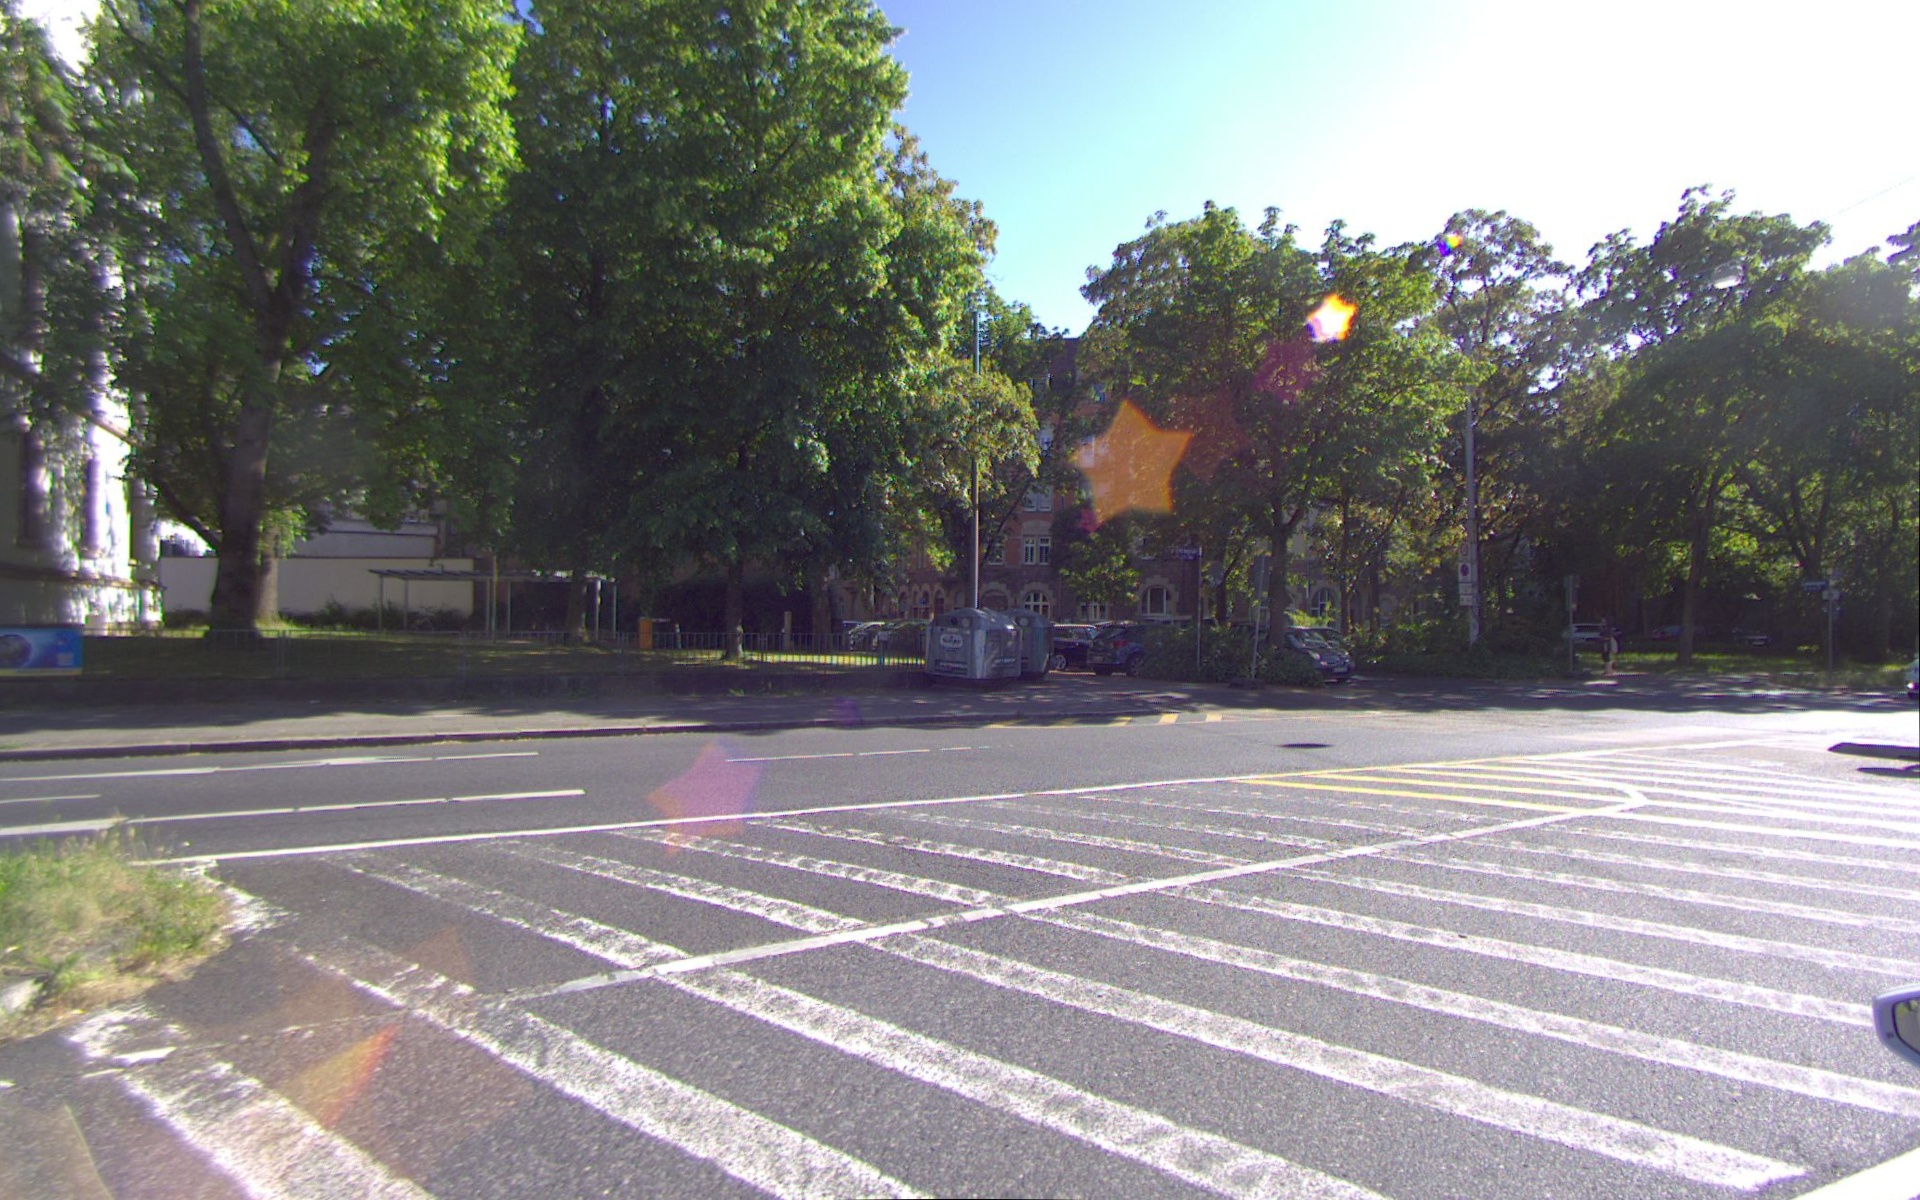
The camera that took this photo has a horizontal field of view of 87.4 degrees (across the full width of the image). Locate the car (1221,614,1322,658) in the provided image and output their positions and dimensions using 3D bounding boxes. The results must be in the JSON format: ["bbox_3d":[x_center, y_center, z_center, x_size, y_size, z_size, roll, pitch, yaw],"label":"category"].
[{"bbox_3d":[12.869,1.436,41.458,3.954,1.676,1.836,0,1,-31],"label":"car"}]

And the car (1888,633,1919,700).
[{"bbox_3d":[24.013,1.552,23.691,3.805,1.539,1.754,0,-2,-24],"label":"car"}]

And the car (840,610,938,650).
[{"bbox_3d":[-3.168,1.358,45.140,3.955,1.510,1.836,5,-2,-31],"label":"car"}]

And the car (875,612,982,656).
[{"bbox_3d":[-1.284,1.385,41.163,3.955,1.510,1.836,5,-2,-31],"label":"car"}]

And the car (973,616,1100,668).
[{"bbox_3d":[2.647,1.442,34.395,3.955,1.510,1.836,5,-2,-31],"label":"car"}]

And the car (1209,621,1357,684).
[{"bbox_3d":[9.121,1.426,28.661,1.786,1.489,3.975,-2,1,-25],"label":"car"}]

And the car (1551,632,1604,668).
[{"bbox_3d":[32.103,2.559,52.294,1.944,1.684,3.996,0,-1,26],"label":"car"}]

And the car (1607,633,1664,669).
[{"bbox_3d":[34.145,2.532,50.860,1.945,1.684,3.995,0,-1,28],"label":"car"}]

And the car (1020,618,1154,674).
[{"bbox_3d":[4.105,1.490,32.356,3.955,1.510,1.836,5,-2,-31],"label":"car"}]

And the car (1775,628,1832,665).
[{"bbox_3d":[40.455,2.194,48.251,1.951,1.684,3.983,1,-1,38],"label":"car"}]

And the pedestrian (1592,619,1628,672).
[{"bbox_3d":[20.528,1.425,31.738,0.701,1.648,0.671,1,0,2],"label":"pedestrian"}]

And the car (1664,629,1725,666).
[{"bbox_3d":[35.949,2.303,49.252,1.946,1.684,3.993,0,-1,29],"label":"car"}]

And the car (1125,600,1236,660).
[{"bbox_3d":[10.186,1.398,46.253,4.930,2.354,1.836,5,-2,-31],"label":"car"}]

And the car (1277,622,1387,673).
[{"bbox_3d":[14.186,1.818,38.276,3.955,1.675,1.836,5,-2,-31],"label":"car"}]

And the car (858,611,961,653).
[{"bbox_3d":[-2.150,1.373,42.988,3.955,1.510,1.836,5,-2,-31],"label":"car"}]
